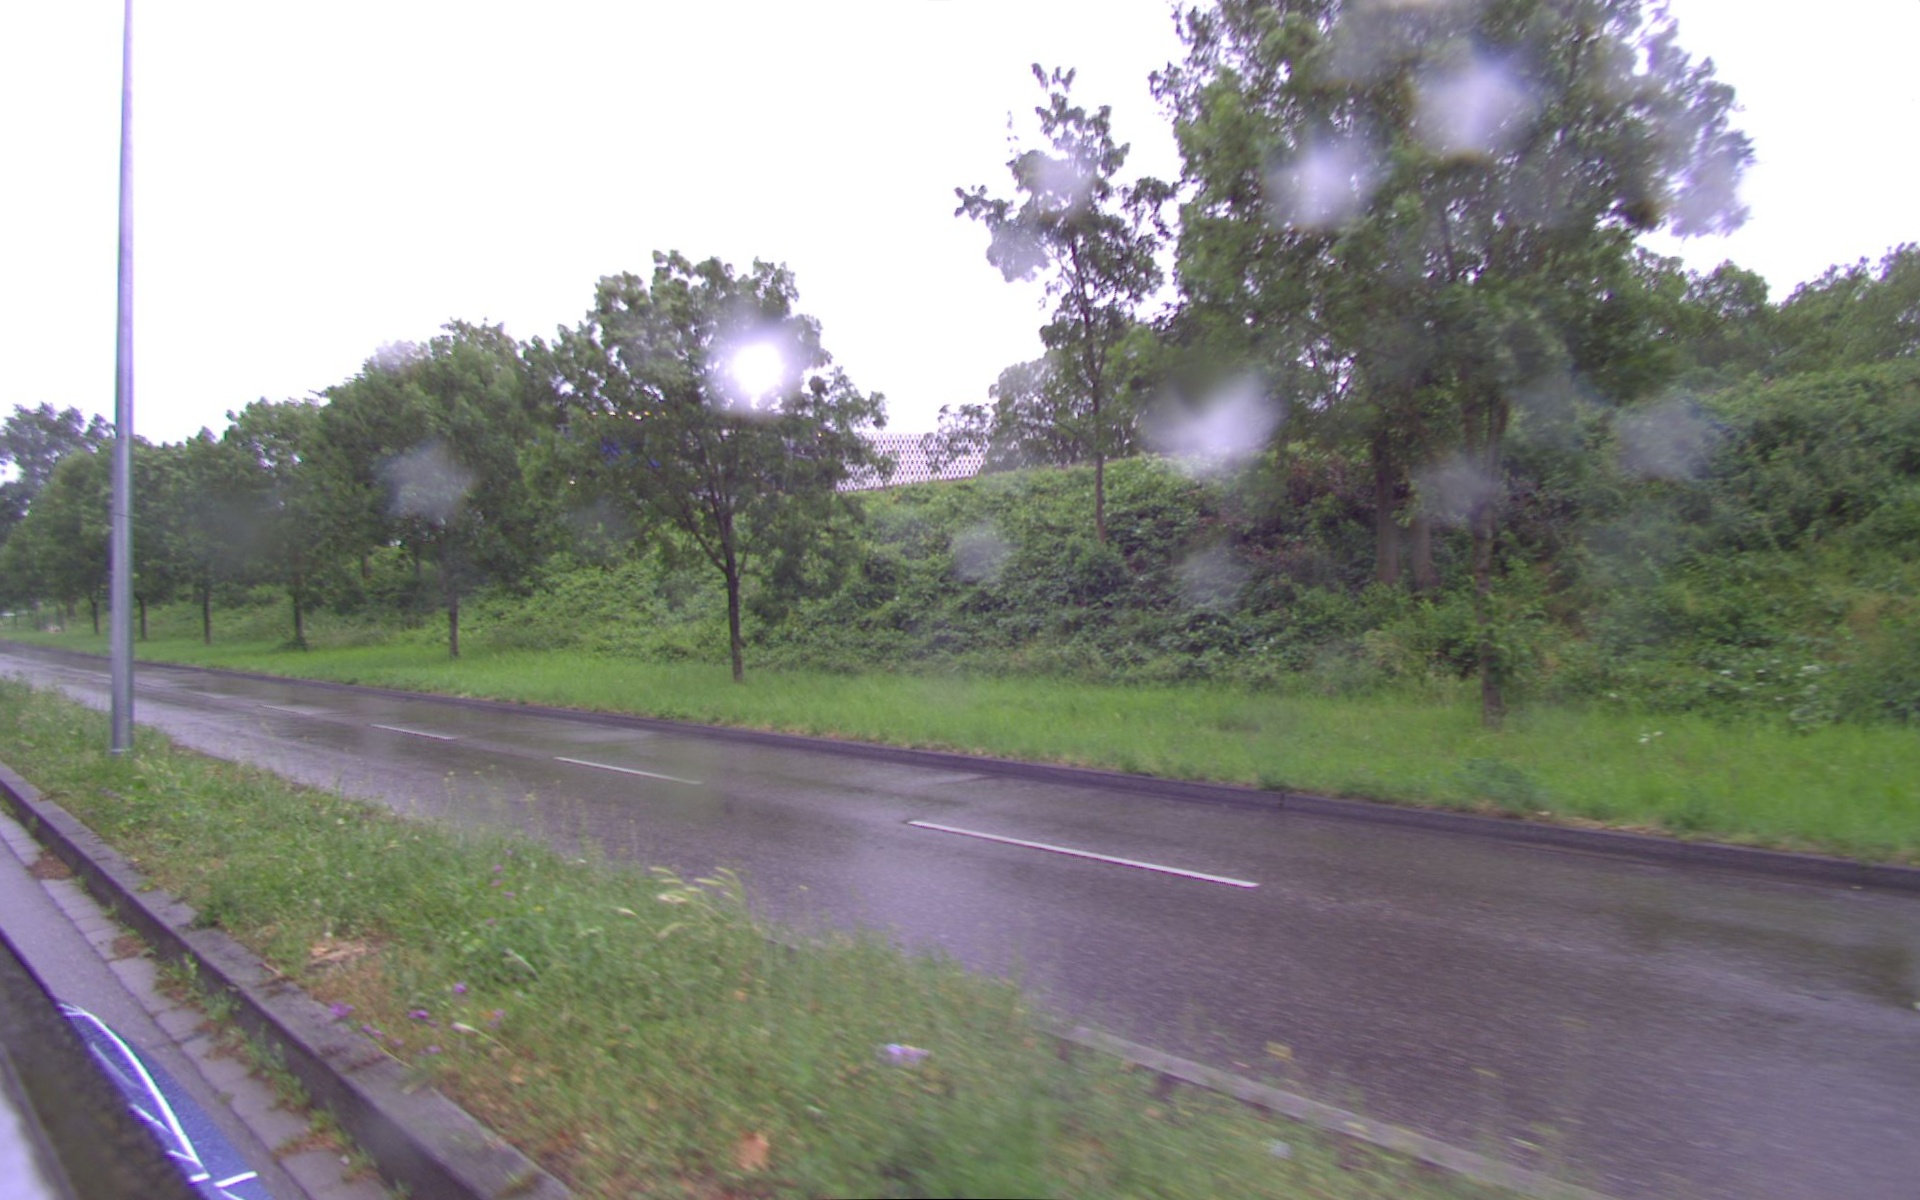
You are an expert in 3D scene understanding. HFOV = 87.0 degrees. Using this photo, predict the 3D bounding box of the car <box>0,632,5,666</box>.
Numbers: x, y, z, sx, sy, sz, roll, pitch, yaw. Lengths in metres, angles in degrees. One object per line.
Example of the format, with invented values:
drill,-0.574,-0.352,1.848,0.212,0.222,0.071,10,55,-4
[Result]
car,-44.817,2.175,45.837,3.997,1.474,1.797,-1,-4,41
